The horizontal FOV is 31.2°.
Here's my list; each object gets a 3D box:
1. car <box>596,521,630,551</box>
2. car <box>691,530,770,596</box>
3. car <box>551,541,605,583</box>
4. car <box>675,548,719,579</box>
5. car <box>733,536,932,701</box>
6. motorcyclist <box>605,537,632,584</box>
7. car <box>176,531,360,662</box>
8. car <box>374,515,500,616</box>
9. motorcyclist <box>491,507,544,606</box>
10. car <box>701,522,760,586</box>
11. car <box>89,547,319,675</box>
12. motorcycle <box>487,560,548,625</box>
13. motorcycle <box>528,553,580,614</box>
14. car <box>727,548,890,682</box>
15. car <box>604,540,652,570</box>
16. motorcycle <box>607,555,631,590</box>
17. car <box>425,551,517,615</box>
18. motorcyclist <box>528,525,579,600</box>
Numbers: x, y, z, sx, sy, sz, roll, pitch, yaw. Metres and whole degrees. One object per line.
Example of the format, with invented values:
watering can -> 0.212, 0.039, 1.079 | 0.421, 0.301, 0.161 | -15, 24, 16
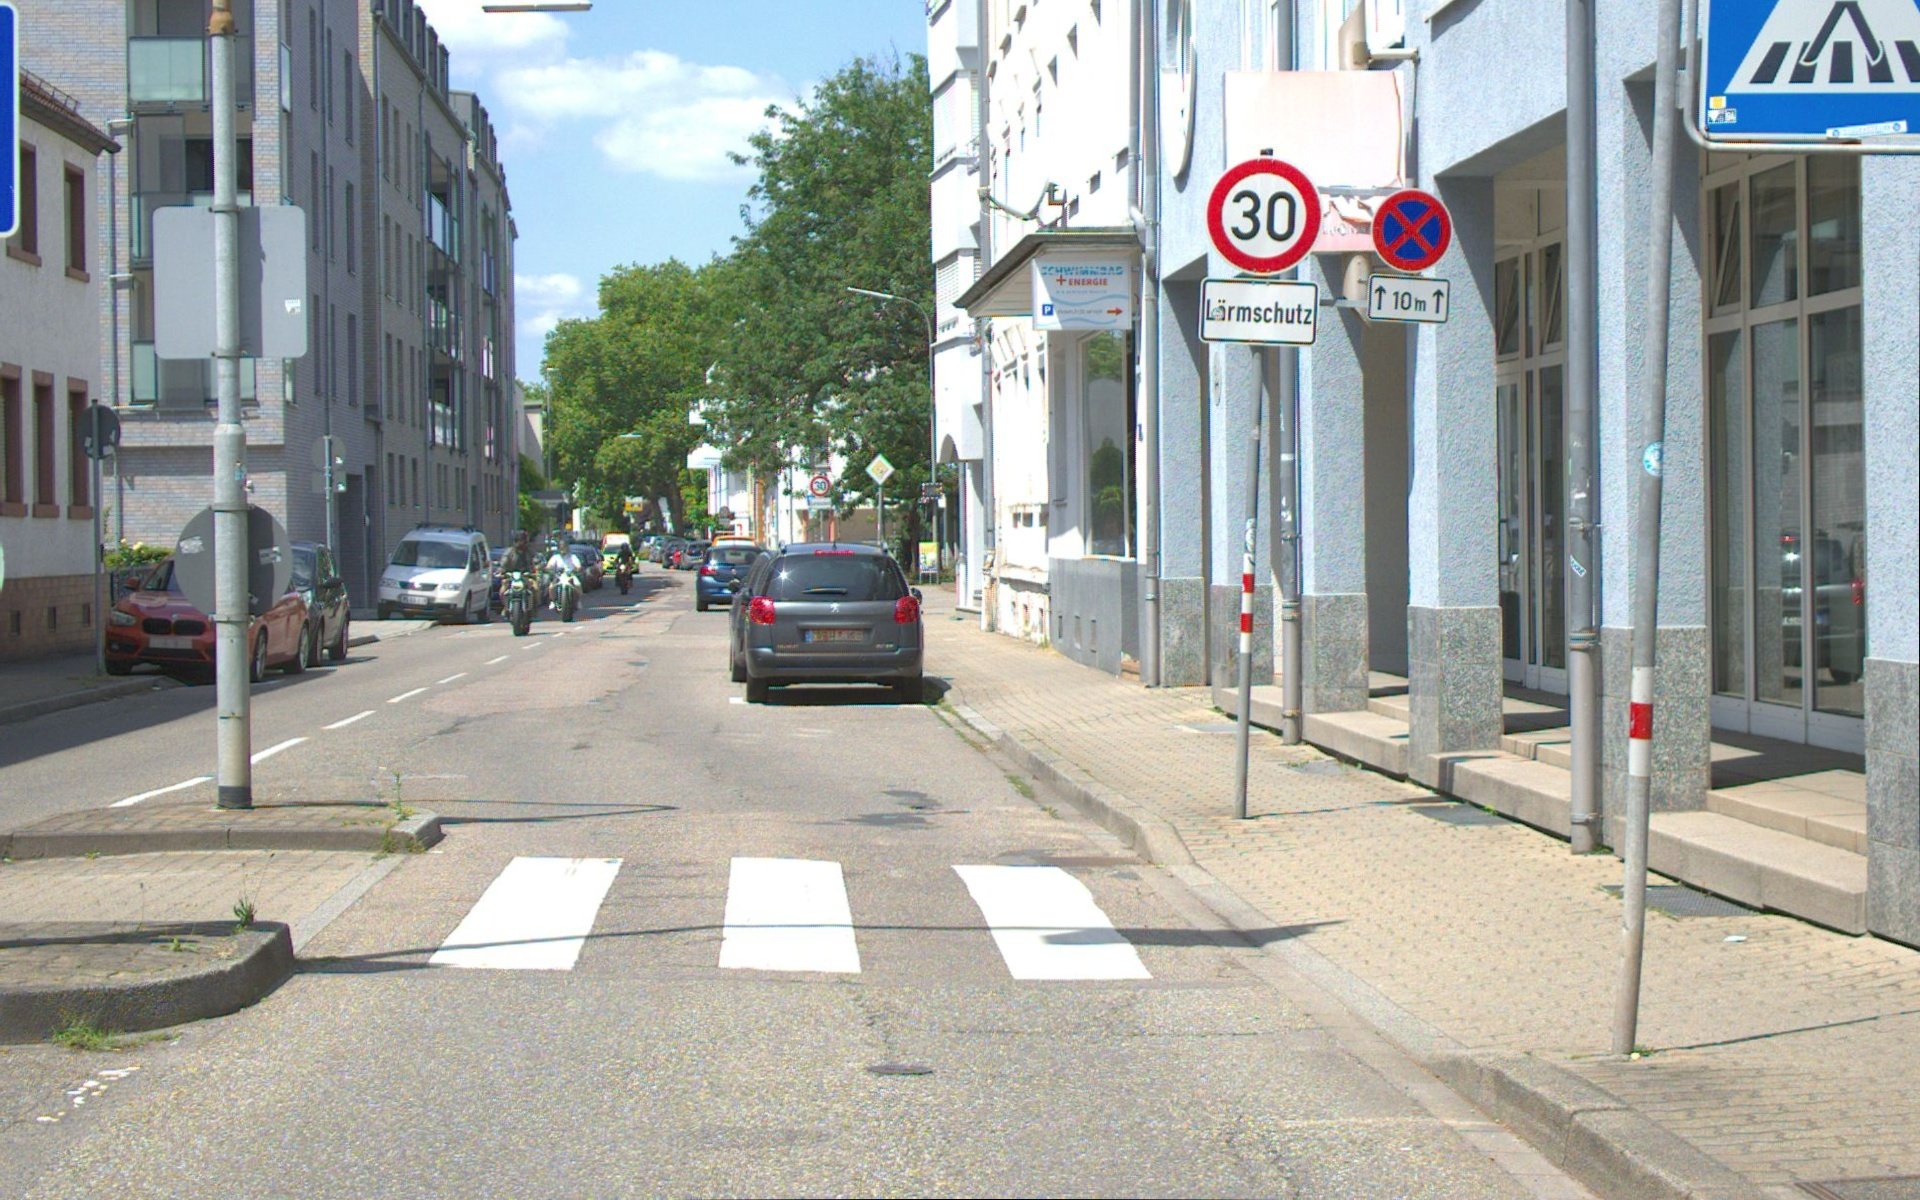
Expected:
car -> -23.314, -4.312, 230.821 | 2.156, 2.007, 4.001 | -1, 1, -4
car -> -5.135, -0.848, 77.185 | 1.715, 1.397, 4.001 | -1, 2, -3
car -> -13.430, -1.341, 121.061 | 1.732, 1.437, 4.001 | -1, 1, -4
car -> -13.895, -1.930, 181.333 | 1.993, 1.612, 4.001 | 0, 1, -9
car -> -1.300, 0.139, 33.607 | 1.709, 1.503, 4.001 | -1, 1, -5
motorcyclist -> -10.979, -1.272, 110.555 | 0.822, 1.504, 1.057 | -1, 1, -3
car -> -9.100, -0.081, 45.466 | 1.794, 1.641, 3.945 | 1, 1, -3
car -> -10.332, -0.702, 68.158 | 1.757, 1.885, 4.336 | 2, 1, 0
motorcyclist -> -7.377, -0.733, 57.370 | 0.713, 1.629, 1.069 | -1, 1, 0
car -> -7.373, -1.496, 110.724 | 1.839, 2.007, 4.001 | -1, 1, -3
car -> -8.829, 0.093, 40.487 | 1.834, 1.412, 4.290 | 0, 1, -1
motorcycle -> -7.370, -0.135, 57.338 | 0.713, 1.025, 2.239 | -1, 1, 0
motorcycle -> -8.008, -0.336, 67.891 | 0.896, 1.172, 2.208 | 0, 1, -3
car -> -1.764, 0.122, 39.060 | 1.729, 1.415, 4.545 | -1, 1, -4
car -> -16.133, -2.178, 167.039 | 1.993, 1.376, 4.393 | 1, 1, -2
motorcycle -> -10.958, -0.888, 110.527 | 0.687, 1.118, 2.028 | -1, 1, -3
car -> -11.483, -0.417, 80.910 | 1.723, 1.451, 4.006 | 1, 1, -2
motorcyclist -> -8.018, -0.749, 67.874 | 0.916, 1.475, 1.203 | 0, 1, -3
